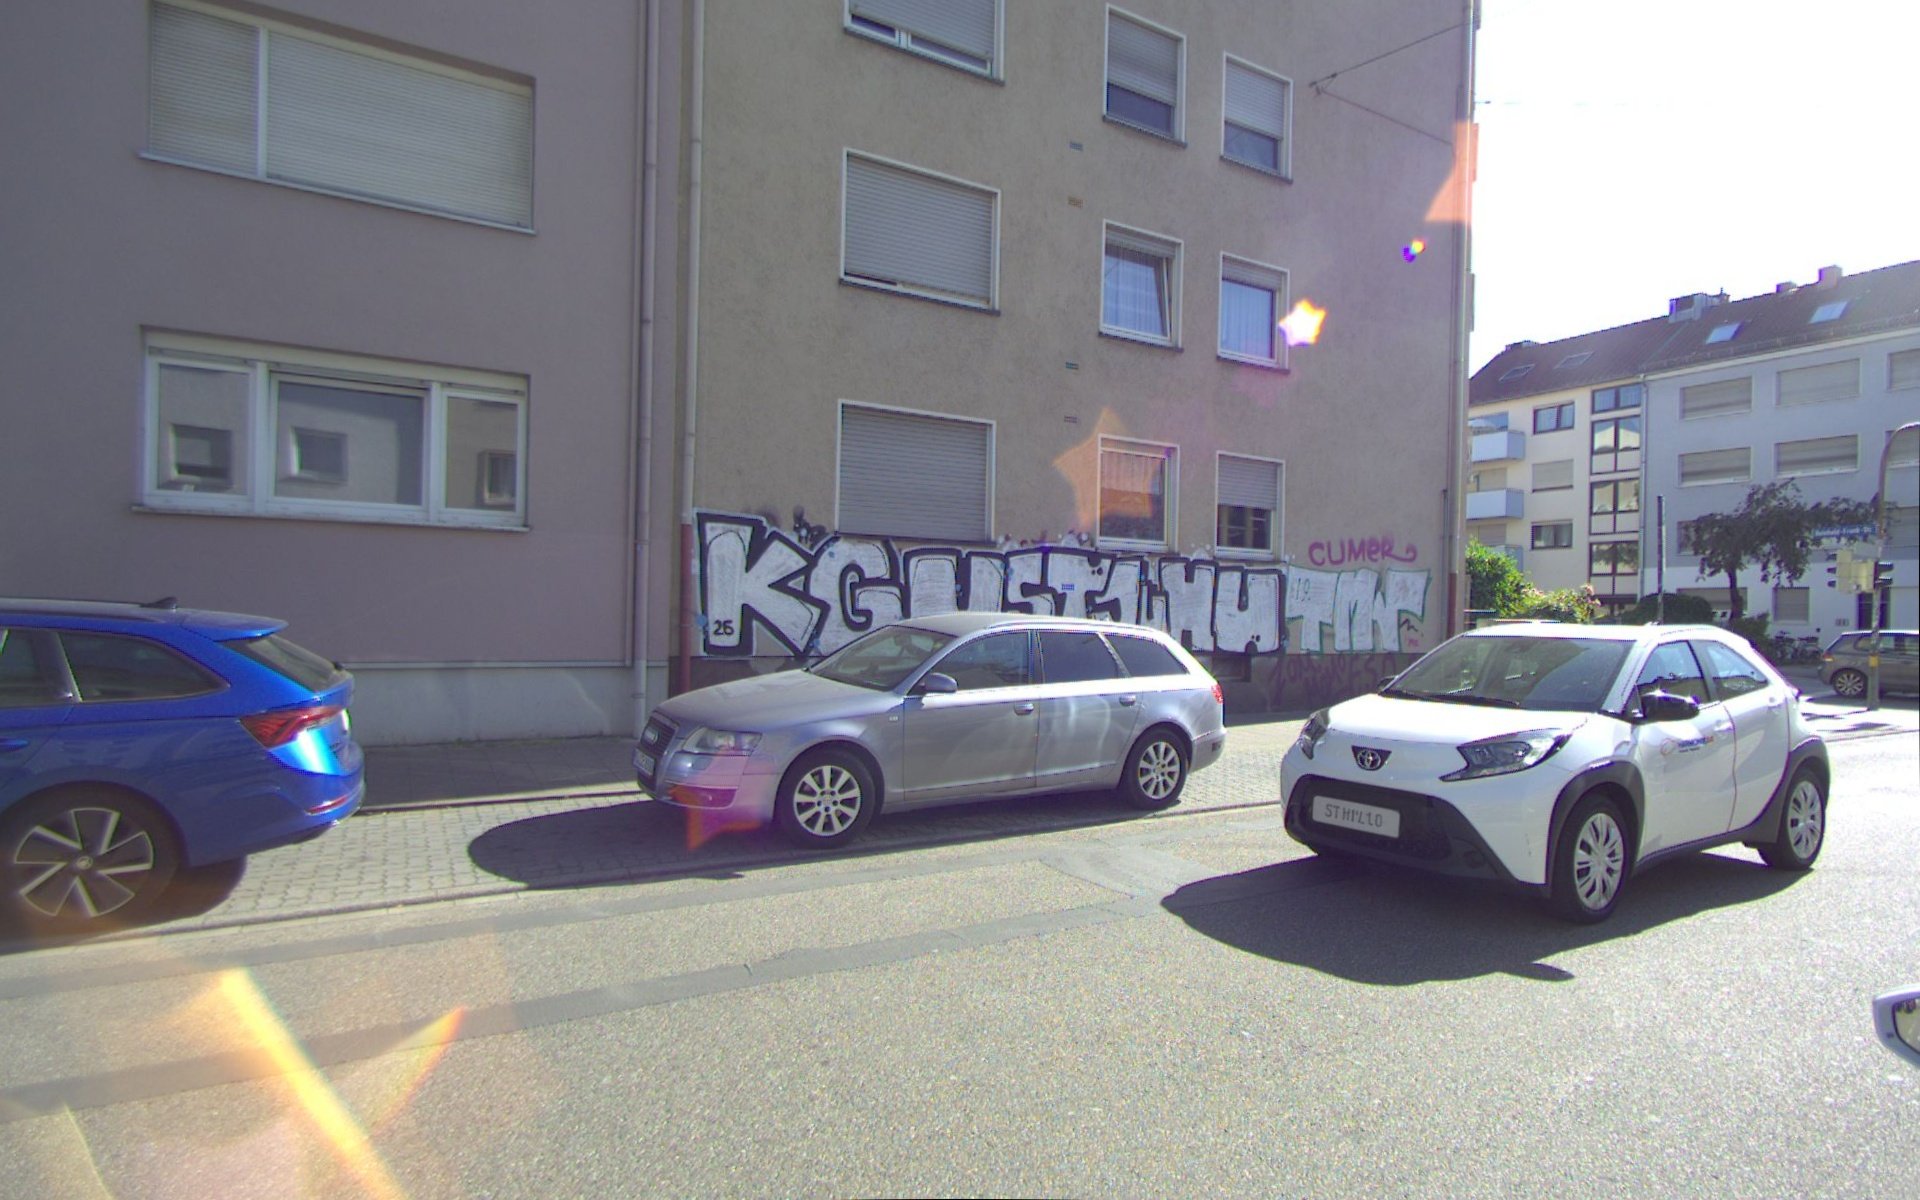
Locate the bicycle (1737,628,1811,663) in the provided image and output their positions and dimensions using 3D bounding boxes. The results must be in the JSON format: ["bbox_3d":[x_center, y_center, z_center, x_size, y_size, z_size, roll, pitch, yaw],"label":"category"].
[{"bbox_3d":[29.591,1.641,36.557,2.068,1.188,0.738,0,-1,37],"label":"bicycle"}]

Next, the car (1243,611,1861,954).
[{"bbox_3d":[3.784,0.885,6.324,3.741,1.557,1.757,1,-1,-30],"label":"car"}]

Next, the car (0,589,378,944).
[{"bbox_3d":[-5.337,0.703,4.625,4.559,1.485,1.708,1,1,-31],"label":"car"}]

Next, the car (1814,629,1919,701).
[{"bbox_3d":[21.166,1.389,21.566,1.811,1.505,3.969,1,-2,-29],"label":"car"}]

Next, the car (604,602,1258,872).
[{"bbox_3d":[-0.070,0.834,7.688,4.759,1.485,1.708,1,1,-31],"label":"car"}]

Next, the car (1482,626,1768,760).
[{"bbox_3d":[8.501,1.087,12.786,3.667,1.444,1.608,1,-1,-31],"label":"car"}]
